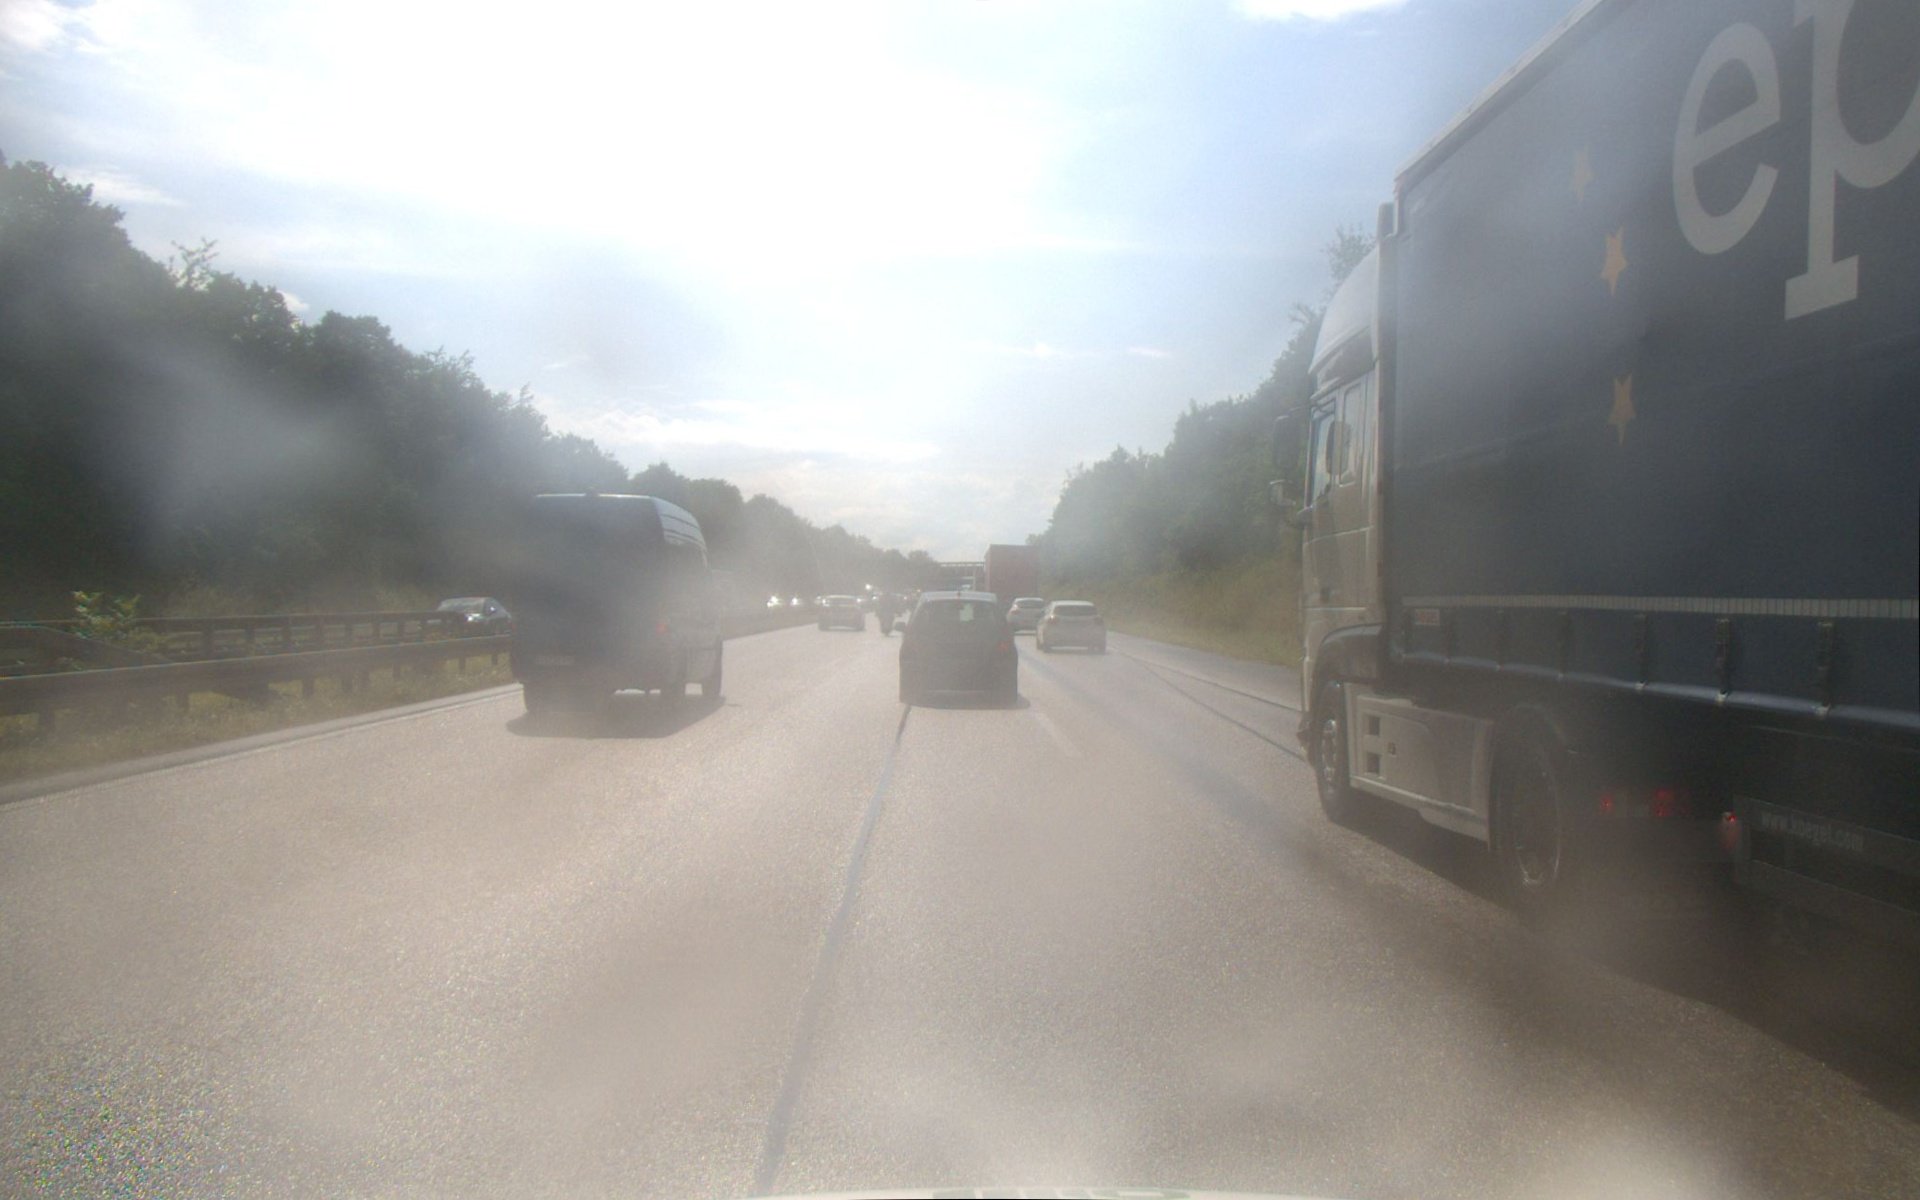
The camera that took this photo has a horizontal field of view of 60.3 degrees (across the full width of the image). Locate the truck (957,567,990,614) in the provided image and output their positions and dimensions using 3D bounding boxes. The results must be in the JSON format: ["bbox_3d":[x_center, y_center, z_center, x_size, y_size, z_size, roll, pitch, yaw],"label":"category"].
[{"bbox_3d":[1.365,-0.918,169.477,3.189,4.558,12.421,1,0,1],"label":"truck"}]

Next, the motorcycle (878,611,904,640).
[{"bbox_3d":[-2.578,0.941,61.922,0.872,1.018,2.895,1,0,-1],"label":"motorcycle"}]

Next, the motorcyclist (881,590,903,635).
[{"bbox_3d":[-2.558,0.485,62.051,0.785,1.662,1.013,1,0,-1],"label":"motorcyclist"}]

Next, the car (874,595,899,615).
[{"bbox_3d":[-5.396,0.365,121.430,1.716,1.482,3.389,1,0,-1],"label":"car"}]

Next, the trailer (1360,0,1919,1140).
[{"bbox_3d":[3.939,-0.546,3.577,2.581,4.065,14.062,1,0,-1],"label":"trailer"}]

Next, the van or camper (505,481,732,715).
[{"bbox_3d":[-4.370,-0.014,22.061,1.953,2.715,5.383,1,0,-1],"label":"van or camper"}]

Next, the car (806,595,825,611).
[{"bbox_3d":[-16.129,0.364,185.181,1.800,1.692,4.440,1,0,-1],"label":"car"}]

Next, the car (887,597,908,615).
[{"bbox_3d":[-5.505,0.540,145.938,1.716,1.482,3.389,1,0,-1],"label":"car"}]

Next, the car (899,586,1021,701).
[{"bbox_3d":[-0.033,0.614,24.963,1.683,1.595,3.484,1,0,-1],"label":"car"}]

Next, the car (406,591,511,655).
[{"bbox_3d":[-13.994,0.615,46.373,1.731,1.692,4.111,1,0,-1],"label":"car"}]

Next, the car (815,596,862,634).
[{"bbox_3d":[-5.222,0.620,71.297,1.817,1.578,3.484,1,0,-1],"label":"car"}]

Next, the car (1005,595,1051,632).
[{"bbox_3d":[2.760,0.552,67.842,1.646,1.467,3.904,1,0,-1],"label":"car"}]

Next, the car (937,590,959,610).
[{"bbox_3d":[-0.855,-0.021,118.528,1.521,1.407,3.209,1,0,-1],"label":"car"}]

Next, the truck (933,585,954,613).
[{"bbox_3d":[-1.783,-0.071,179.780,2.147,2.926,4.848,1,0,-1],"label":"truck"}]

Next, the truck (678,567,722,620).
[{"bbox_3d":[-22.710,-0.542,144.628,2.805,4.449,6.866,1,0,-1],"label":"truck"}]

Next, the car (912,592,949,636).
[{"bbox_3d":[-1.242,0.583,69.880,1.500,1.777,3.484,1,0,-1],"label":"car"}]

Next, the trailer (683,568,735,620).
[{"bbox_3d":[-22.826,-0.524,151.101,2.805,4.449,14.089,1,0,-1],"label":"trailer"}]

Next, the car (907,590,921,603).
[{"bbox_3d":[-4.834,-0.357,173.851,1.455,1.414,3.197,1,0,-1],"label":"car"}]

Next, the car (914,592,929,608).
[{"bbox_3d":[-5.001,-0.001,216.552,1.953,2.049,3.999,0,0,-1],"label":"car"}]

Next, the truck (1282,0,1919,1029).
[{"bbox_3d":[3.871,-0.528,9.402,2.553,4.065,7.289,1,0,-1],"label":"truck"}]

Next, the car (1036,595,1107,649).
[{"bbox_3d":[3.154,0.608,47.567,1.658,1.450,4.219,1,0,-1],"label":"car"}]

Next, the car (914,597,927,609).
[{"bbox_3d":[-5.728,0.395,240.604,1.953,1.731,3.999,0,0,-1],"label":"car"}]

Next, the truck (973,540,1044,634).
[{"bbox_3d":[2.588,-0.640,93.260,3.575,4.803,16.779,1,0,1],"label":"truck"}]
